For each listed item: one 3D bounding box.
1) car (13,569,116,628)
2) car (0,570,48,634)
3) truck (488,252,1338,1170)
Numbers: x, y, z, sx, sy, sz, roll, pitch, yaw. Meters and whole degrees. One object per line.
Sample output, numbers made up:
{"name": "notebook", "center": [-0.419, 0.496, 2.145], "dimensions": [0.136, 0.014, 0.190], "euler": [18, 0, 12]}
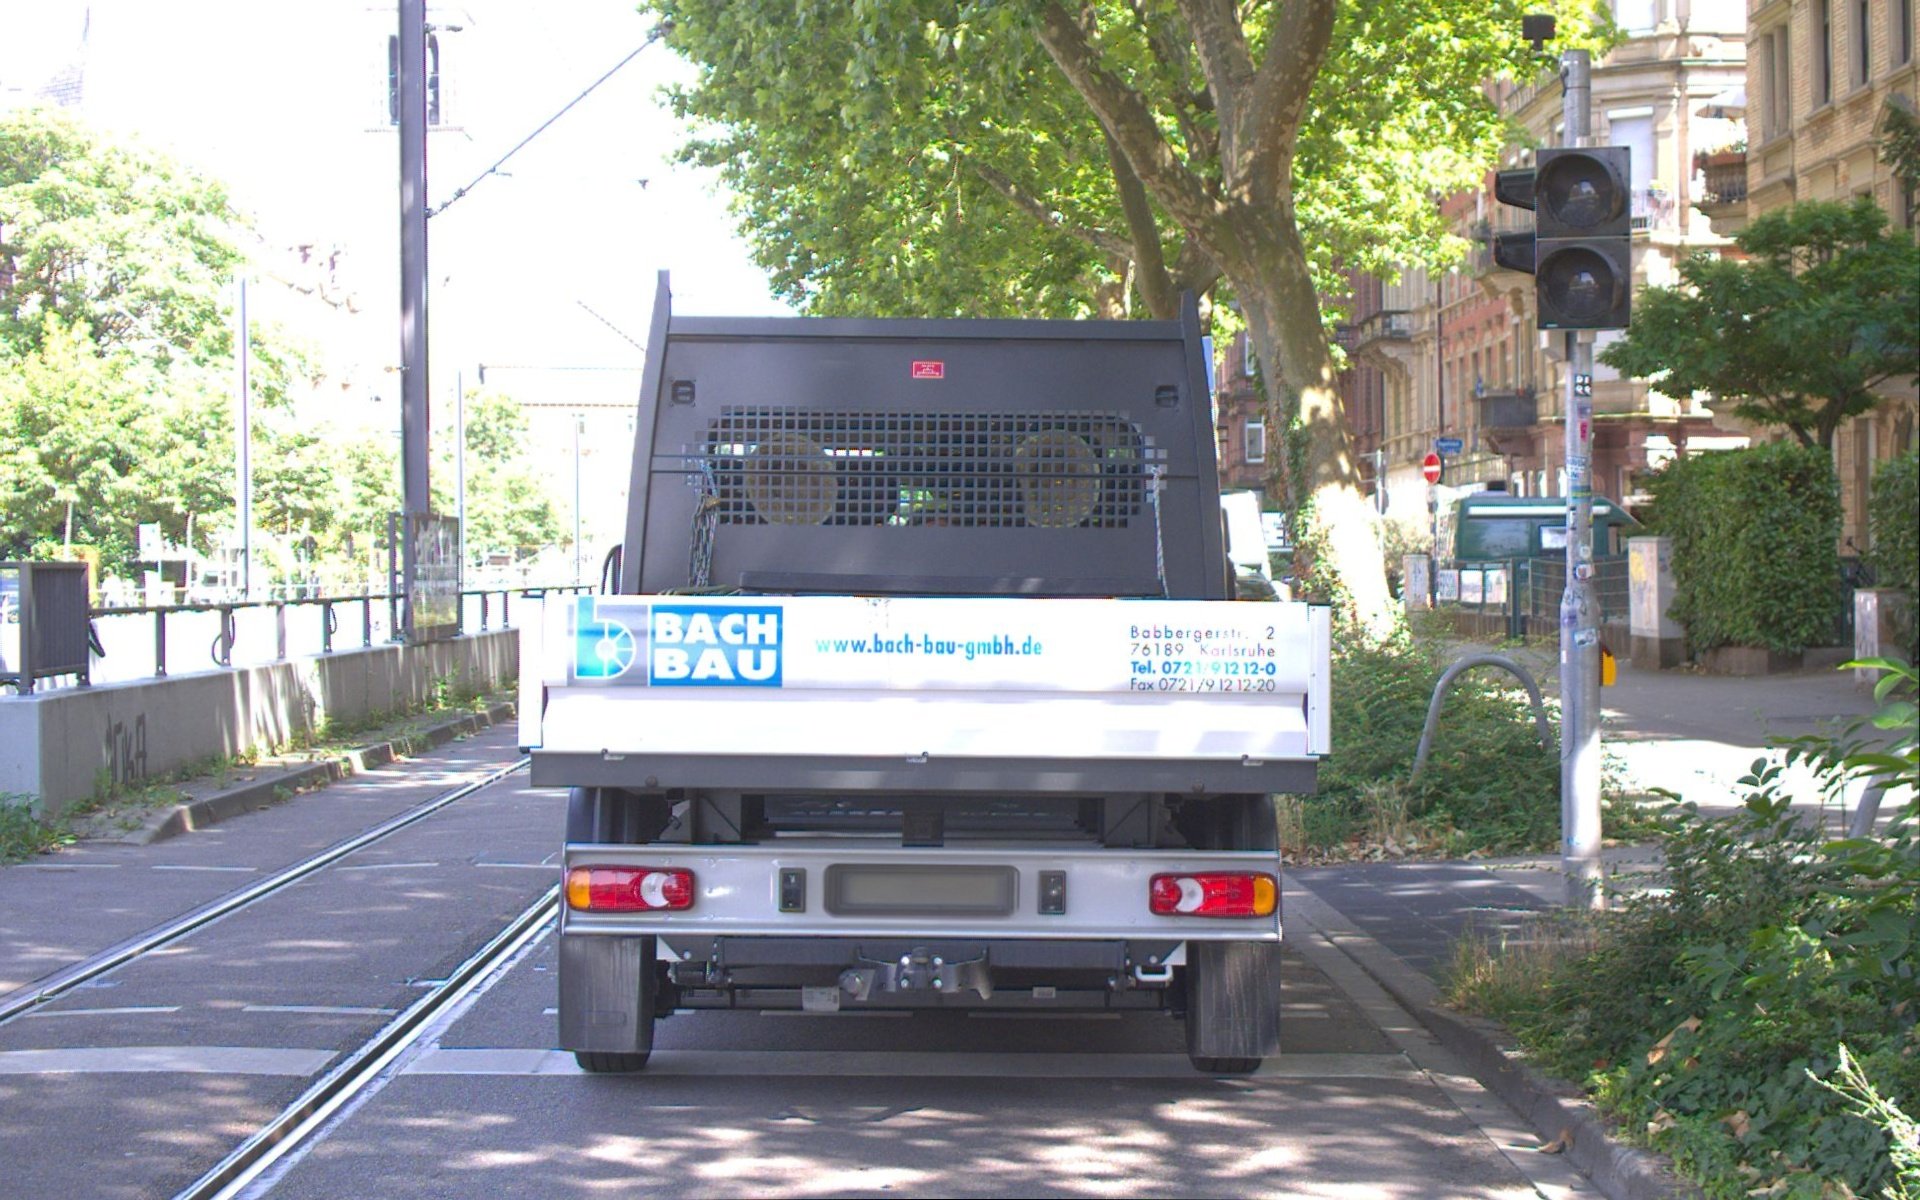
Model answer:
{"name": "car", "center": [-23.477, -0.054, 90.254], "dimensions": [1.770, 1.493, 4.000], "euler": [-1, 1, -2]}
{"name": "car", "center": [-23.232, 0.028, 82.417], "dimensions": [1.770, 1.493, 4.000], "euler": [-1, 1, -2]}
{"name": "truck", "center": [-0.105, 0.254, 10.873], "dimensions": [2.138, 2.311, 4.401], "euler": [0, 1, 0]}
